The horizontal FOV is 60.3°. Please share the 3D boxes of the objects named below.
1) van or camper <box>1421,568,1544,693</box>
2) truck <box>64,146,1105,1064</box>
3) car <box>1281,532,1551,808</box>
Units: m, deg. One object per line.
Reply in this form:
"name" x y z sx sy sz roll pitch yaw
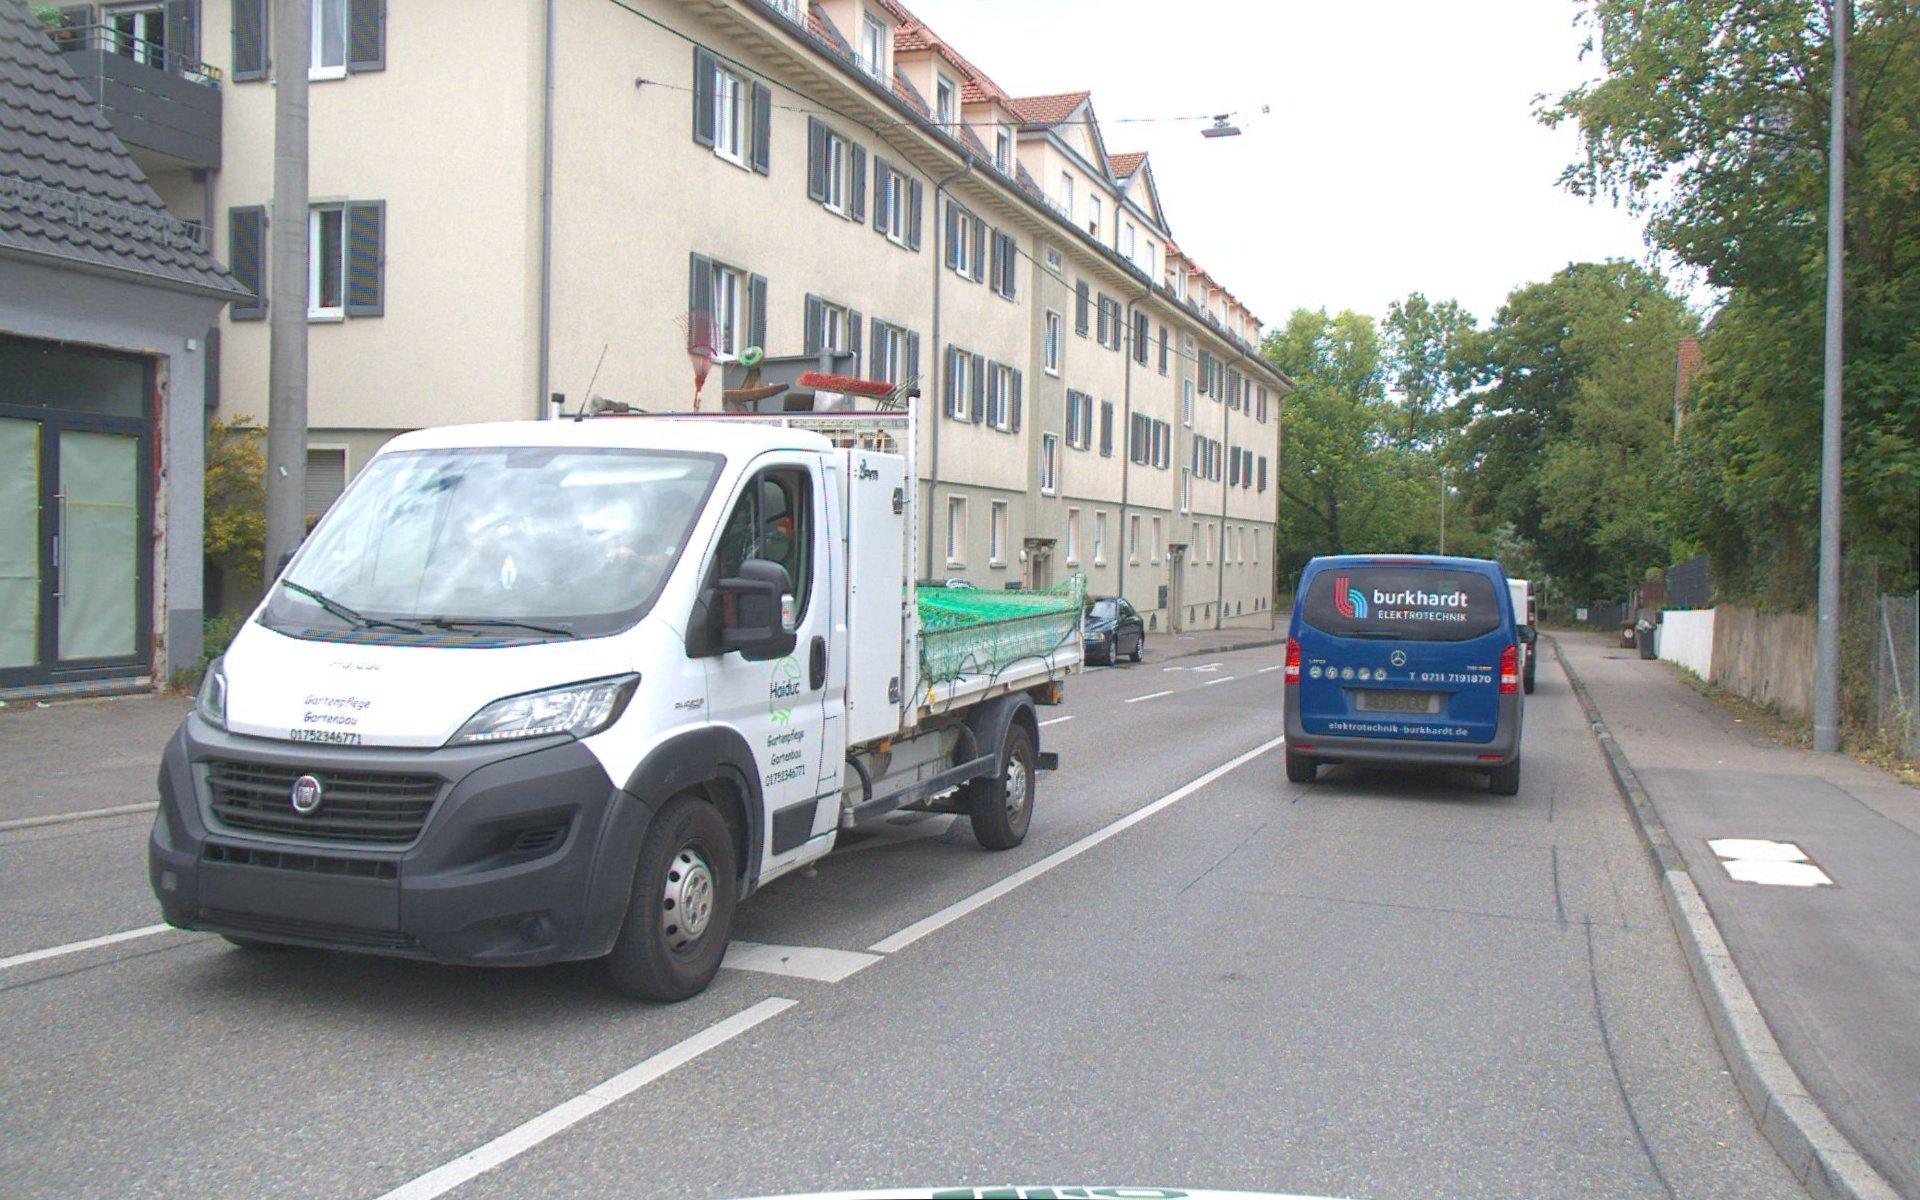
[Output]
"van or camper" 9.745 0.524 30.619 1.952 2.049 5.097 2 0 19
"truck" -1.037 0.044 8.307 1.952 2.748 6.409 0 -1 20
"car" 4.075 0.476 14.583 1.907 1.999 4.544 2 1 17
